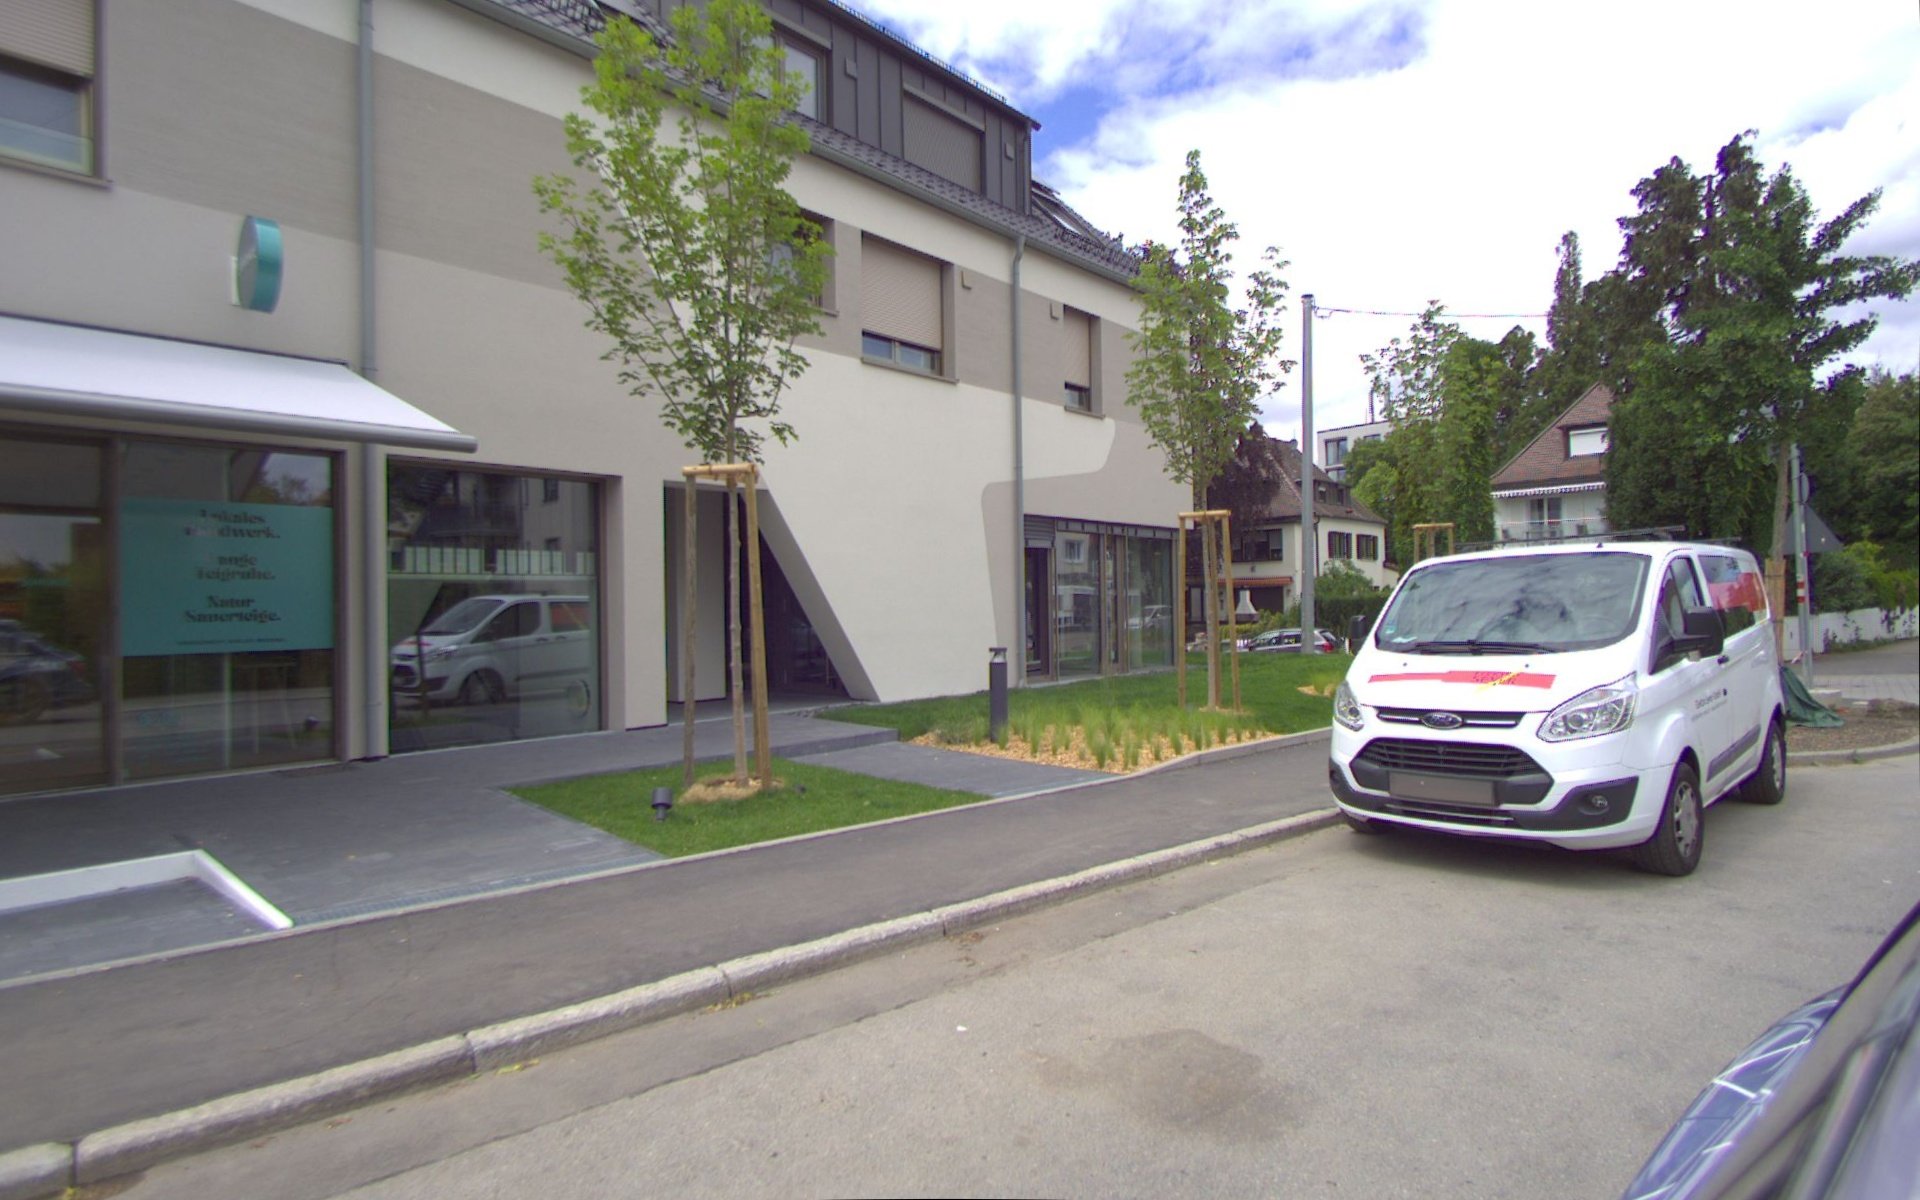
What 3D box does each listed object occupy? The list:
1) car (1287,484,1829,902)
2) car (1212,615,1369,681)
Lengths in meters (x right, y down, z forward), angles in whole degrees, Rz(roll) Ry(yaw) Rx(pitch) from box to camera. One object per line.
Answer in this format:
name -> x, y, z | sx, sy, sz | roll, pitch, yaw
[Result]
car -> 4.774, 0.479, 7.576 | 5.474, 2.040, 1.994 | 0, -3, -44
car -> 9.558, 1.408, 29.418 | 3.826, 1.617, 1.849 | -7, -4, 40
